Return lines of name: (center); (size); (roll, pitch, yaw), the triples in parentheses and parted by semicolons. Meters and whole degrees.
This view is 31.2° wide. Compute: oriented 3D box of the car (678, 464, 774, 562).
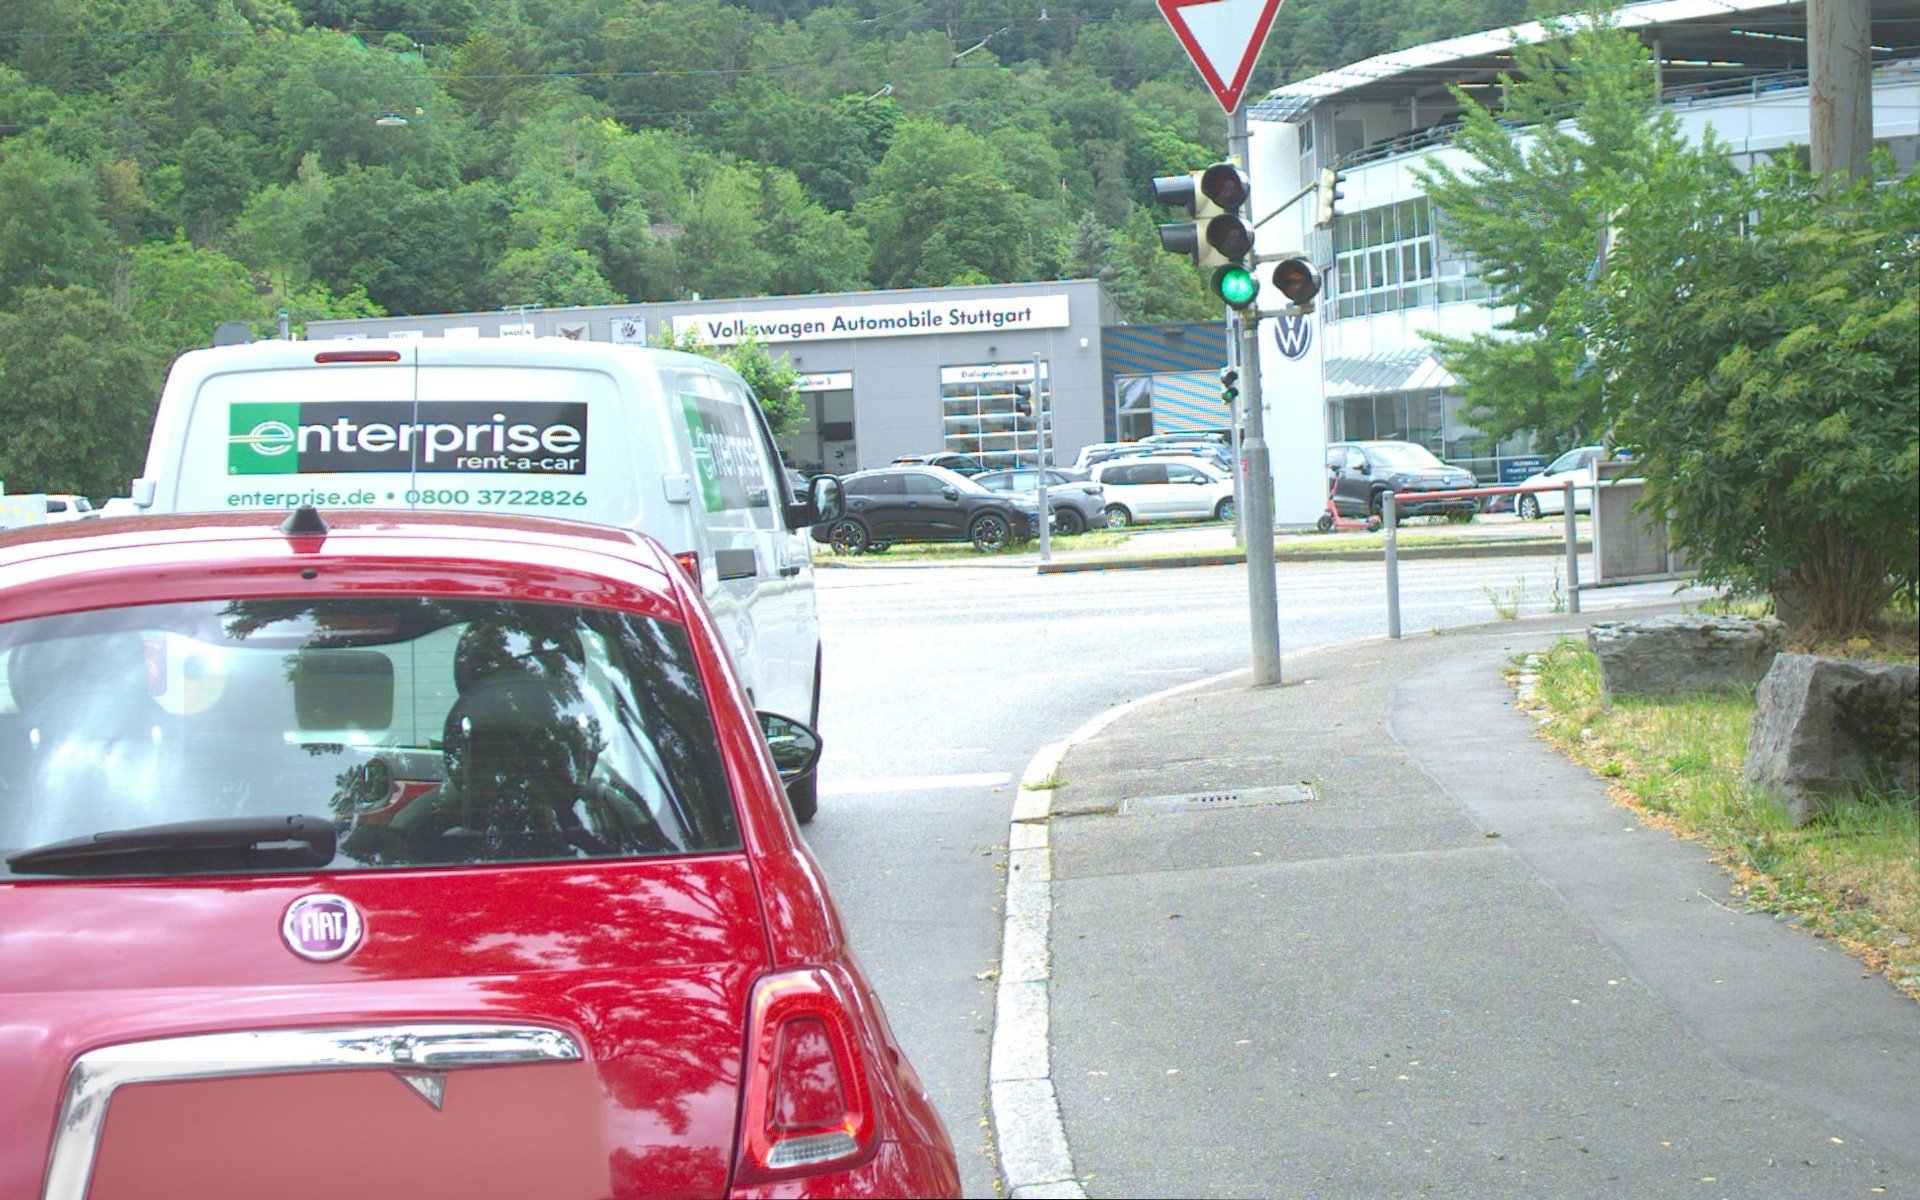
car: (-5.359, -1.967, 79.180); (1.993, 2.007, 5.018); (-3, 0, -3)

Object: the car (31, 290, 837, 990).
car: (-1.640, -0.016, 12.512); (1.999, 2.033, 4.832); (1, 3, 2)

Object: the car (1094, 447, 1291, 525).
car: (5.458, -2.671, 81.071); (4.495, 1.723, 2.000); (1, 0, 0)

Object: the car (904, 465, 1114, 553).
car: (0.967, -1.843, 70.026); (3.986, 1.700, 2.000); (1, 0, -8)

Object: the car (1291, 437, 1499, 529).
car: (8.174, -2.187, 64.904); (1.993, 1.634, 4.001); (-2, 2, -26)

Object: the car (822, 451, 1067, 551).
car: (-0.260, -1.793, 61.374); (3.989, 1.634, 1.999); (1, 5, 14)

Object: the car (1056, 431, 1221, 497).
car: (4.975, -3.780, 96.151); (4.495, 1.723, 2.000); (1, 0, 0)

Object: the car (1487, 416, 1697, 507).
car: (12.239, -2.664, 66.831); (1.993, 1.634, 4.001); (1, 1, -26)

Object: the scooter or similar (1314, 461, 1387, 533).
scooter or similar: (7.073, -1.861, 62.303); (1.200, 1.283, 0.575); (1, 0, -4)

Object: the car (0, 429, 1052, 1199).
car: (-1.105, 0.510, 5.701); (1.697, 1.520, 4.001); (1, 2, -10)

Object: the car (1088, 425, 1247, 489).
car: (6.050, -4.172, 100.470); (4.495, 1.723, 2.000); (1, 0, 0)
